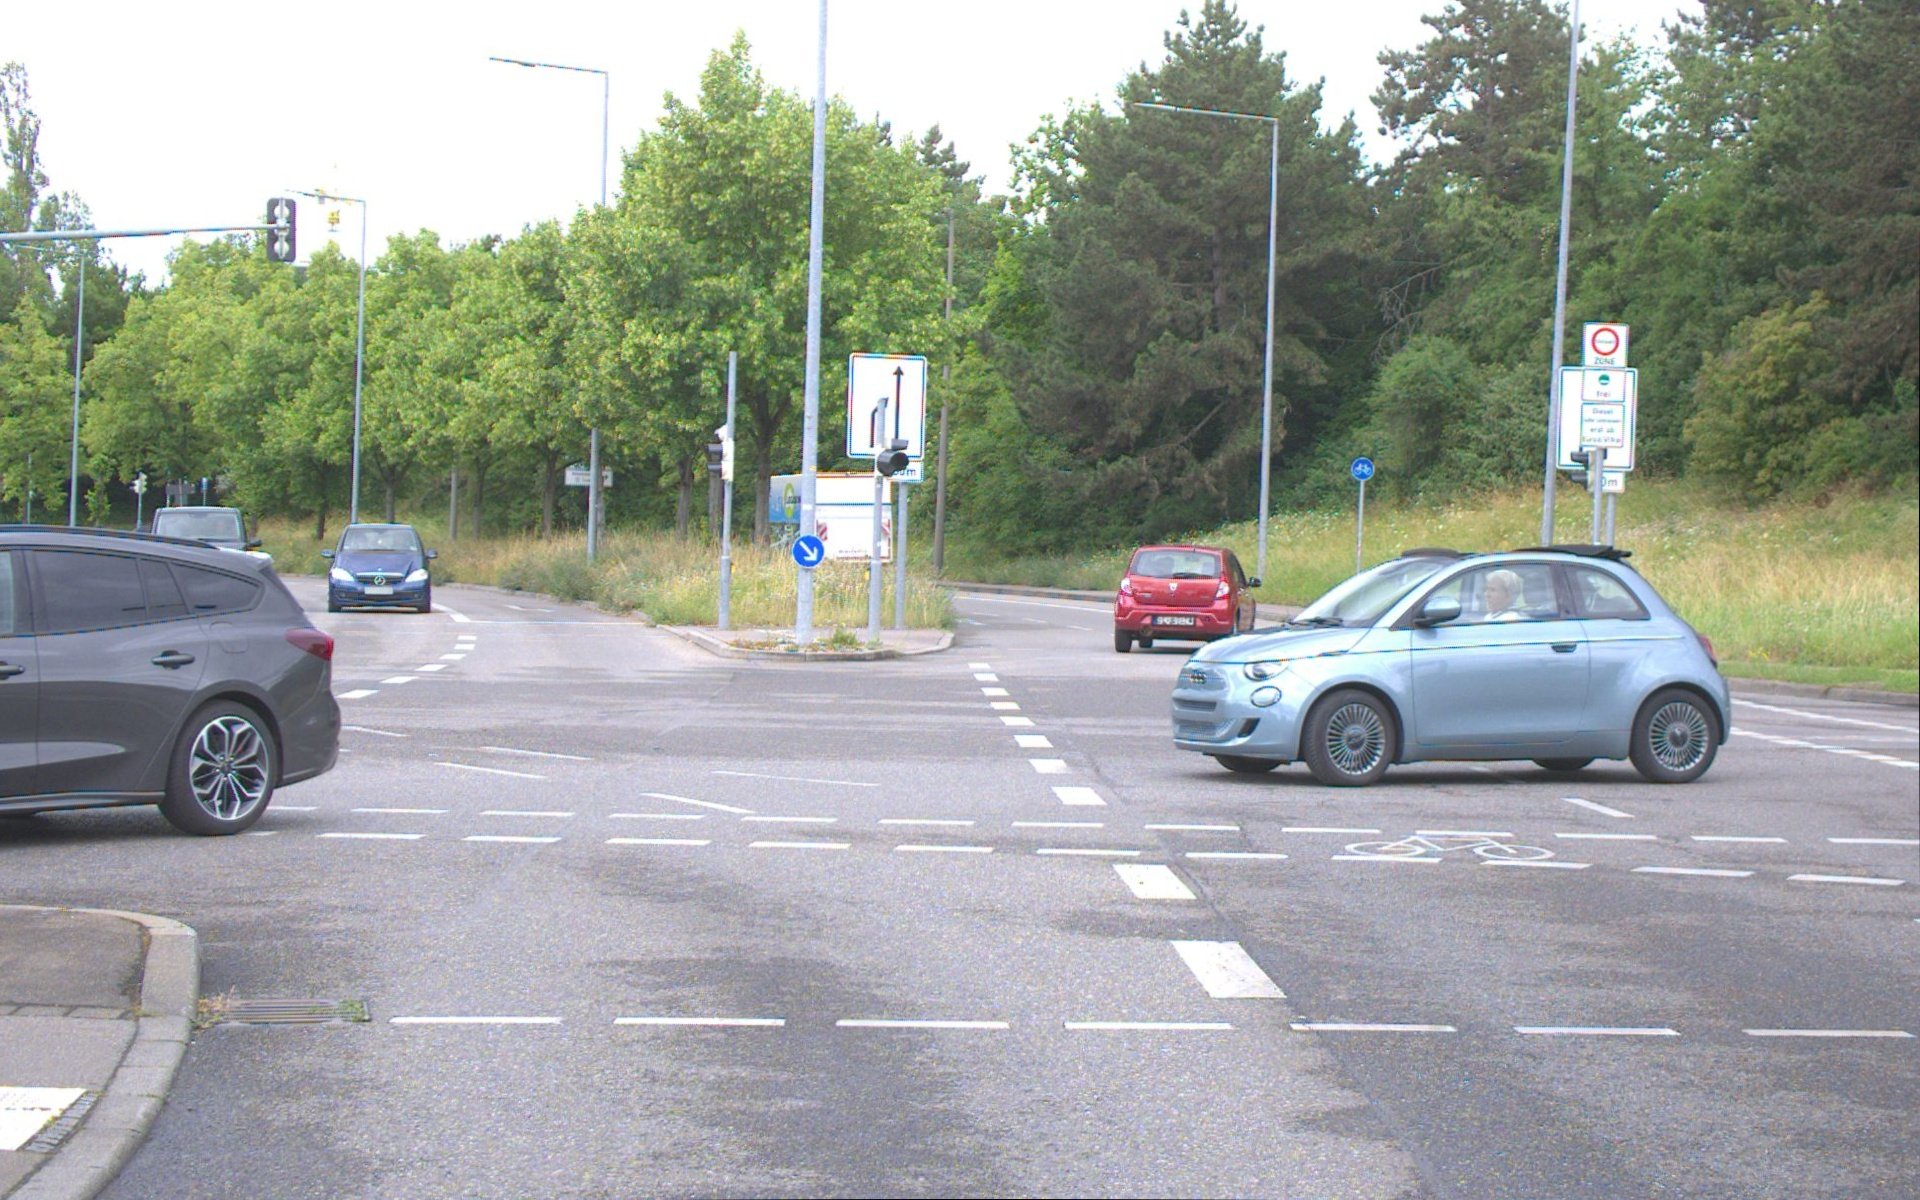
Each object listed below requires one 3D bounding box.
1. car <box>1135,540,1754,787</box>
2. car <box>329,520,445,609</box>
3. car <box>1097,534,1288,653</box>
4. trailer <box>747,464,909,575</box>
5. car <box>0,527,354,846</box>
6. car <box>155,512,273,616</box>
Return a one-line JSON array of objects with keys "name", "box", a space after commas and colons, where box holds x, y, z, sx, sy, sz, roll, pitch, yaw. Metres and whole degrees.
[{"name": "car", "box": [3.148, 0.398, 22.524, 3.588, 1.523, 1.762, 1, 0, -17]}, {"name": "car", "box": [-10.140, -0.630, 61.023, 1.735, 1.503, 3.661, 1, 1, -5]}, {"name": "car", "box": [3.354, -0.100, 48.956, 1.786, 1.598, 3.884, 1, 1, 18]}, {"name": "trailer", "box": [-3.811, -2.259, 97.949, 2.745, 3.002, 6.089, 1, 1, -21]}, {"name": "car", "box": [-5.089, 0.370, 15.786, 1.874, 1.419, 4.423, 1, 1, 38]}, {"name": "car", "box": [-13.562, -0.674, 62.716, 1.887, 1.806, 5.094, 0, 1, -10]}]
